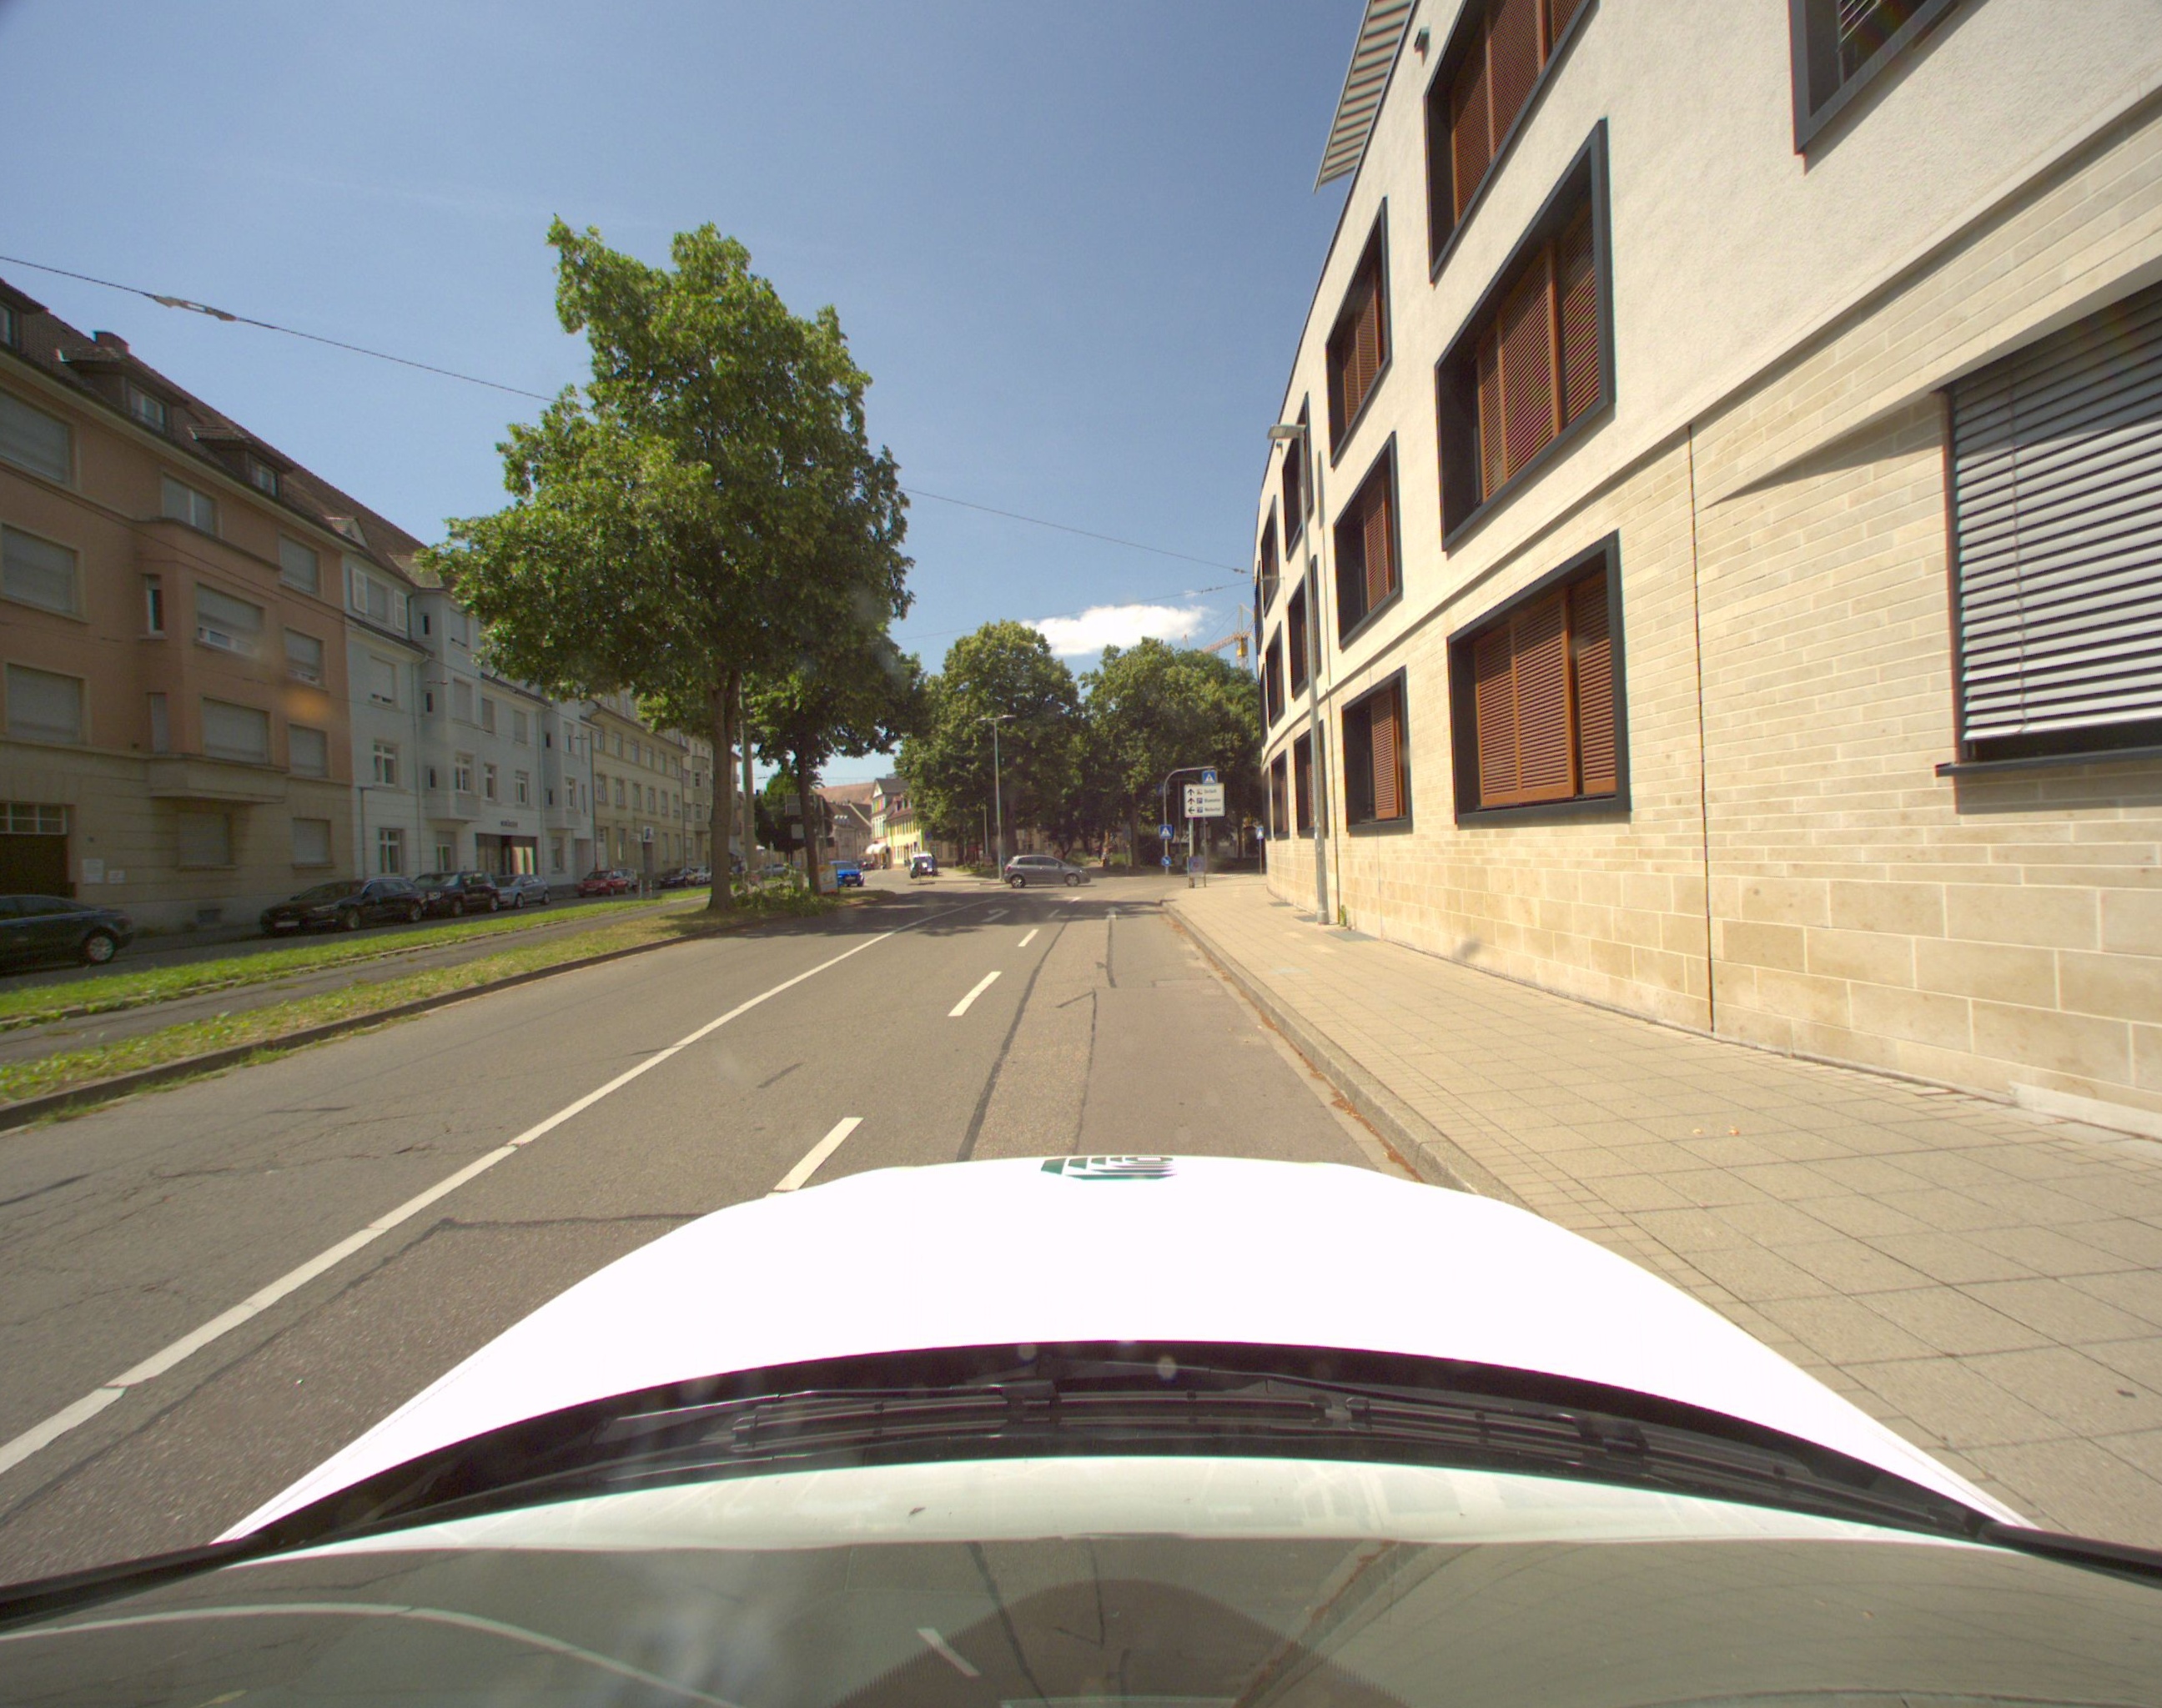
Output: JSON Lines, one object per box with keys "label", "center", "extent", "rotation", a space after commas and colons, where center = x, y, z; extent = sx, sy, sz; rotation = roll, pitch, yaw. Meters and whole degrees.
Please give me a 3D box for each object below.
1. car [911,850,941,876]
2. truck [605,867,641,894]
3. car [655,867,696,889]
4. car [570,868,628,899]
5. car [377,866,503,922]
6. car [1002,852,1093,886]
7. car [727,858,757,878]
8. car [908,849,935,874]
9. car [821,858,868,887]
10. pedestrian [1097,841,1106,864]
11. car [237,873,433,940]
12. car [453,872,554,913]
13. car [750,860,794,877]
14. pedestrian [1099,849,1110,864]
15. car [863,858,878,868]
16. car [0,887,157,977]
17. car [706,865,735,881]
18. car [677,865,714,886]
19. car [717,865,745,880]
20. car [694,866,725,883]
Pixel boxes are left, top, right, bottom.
{"label": "car", "center": [-11.465, 0.631, 60.060], "extent": [1.995, 1.826, 4.403], "rotation": [-1, 0, -13]}
{"label": "truck", "center": [-26.937, 1.537, 47.936], "extent": [1.127, 1.494, 2.582], "rotation": [-3, 1, -13]}
{"label": "car", "center": [-29.088, 1.683, 58.550], "extent": [1.688, 1.360, 3.841], "rotation": [-3, 1, -12]}
{"label": "car", "center": [-25.903, 1.533, 43.871], "extent": [1.573, 1.451, 3.610], "rotation": [-3, 1, -12]}
{"label": "car", "center": [-22.678, 1.341, 29.023], "extent": [1.838, 1.685, 4.125], "rotation": [-3, 1, -13]}
{"label": "car", "center": [-1.553, 0.692, 39.006], "extent": [4.213, 1.534, 1.910], "rotation": [-1, 0, 1]}
{"label": "car", "center": [-34.236, 1.386, 82.449], "extent": [1.855, 1.911, 4.751], "rotation": [-3, 1, -12]}
{"label": "car", "center": [-13.365, 0.616, 68.379], "extent": [2.050, 2.002, 5.229], "rotation": [-1, 0, -11]}
{"label": "car", "center": [-13.320, 0.997, 45.725], "extent": [1.819, 1.492, 3.965], "rotation": [-3, 1, -27]}
{"label": "pedestrian", "center": [1.808, -0.148, 70.783], "extent": [0.744, 1.910, 0.685], "rotation": [-1, 1, 3]}
{"label": "car", "center": [-21.434, 1.426, 23.738], "extent": [1.929, 1.490, 4.842], "rotation": [-3, 1, -12]}
{"label": "car", "center": [-23.684, 1.533, 33.616], "extent": [1.809, 1.356, 4.232], "rotation": [-3, 1, -13]}
{"label": "car", "center": [-33.562, 1.555, 88.449], "extent": [4.213, 1.505, 1.993], "rotation": [-3, 1, -17]}
{"label": "pedestrian", "center": [2.006, 0.217, 69.868], "extent": [0.902, 1.252, 1.149], "rotation": [-1, 1, 3]}
{"label": "car", "center": [-31.720, 1.367, 122.797], "extent": [1.866, 1.486, 3.974], "rotation": [-1, 0, -19]}
{"label": "car", "center": [-19.244, 1.424, 13.924], "extent": [1.929, 1.398, 4.844], "rotation": [-3, 1, -11]}
{"label": "car", "center": [-32.346, 1.680, 73.200], "extent": [1.603, 1.277, 3.571], "rotation": [-3, 1, -12]}
{"label": "car", "center": [-30.269, 1.665, 64.018], "extent": [1.688, 1.390, 3.841], "rotation": [-3, 1, -12]}
{"label": "car", "center": [-33.237, 1.721, 77.454], "extent": [1.643, 1.277, 4.246], "rotation": [-3, 1, -12]}
{"label": "car", "center": [-31.339, 1.699, 68.745], "extent": [1.688, 1.277, 3.274], "rotation": [-3, 1, -12]}
